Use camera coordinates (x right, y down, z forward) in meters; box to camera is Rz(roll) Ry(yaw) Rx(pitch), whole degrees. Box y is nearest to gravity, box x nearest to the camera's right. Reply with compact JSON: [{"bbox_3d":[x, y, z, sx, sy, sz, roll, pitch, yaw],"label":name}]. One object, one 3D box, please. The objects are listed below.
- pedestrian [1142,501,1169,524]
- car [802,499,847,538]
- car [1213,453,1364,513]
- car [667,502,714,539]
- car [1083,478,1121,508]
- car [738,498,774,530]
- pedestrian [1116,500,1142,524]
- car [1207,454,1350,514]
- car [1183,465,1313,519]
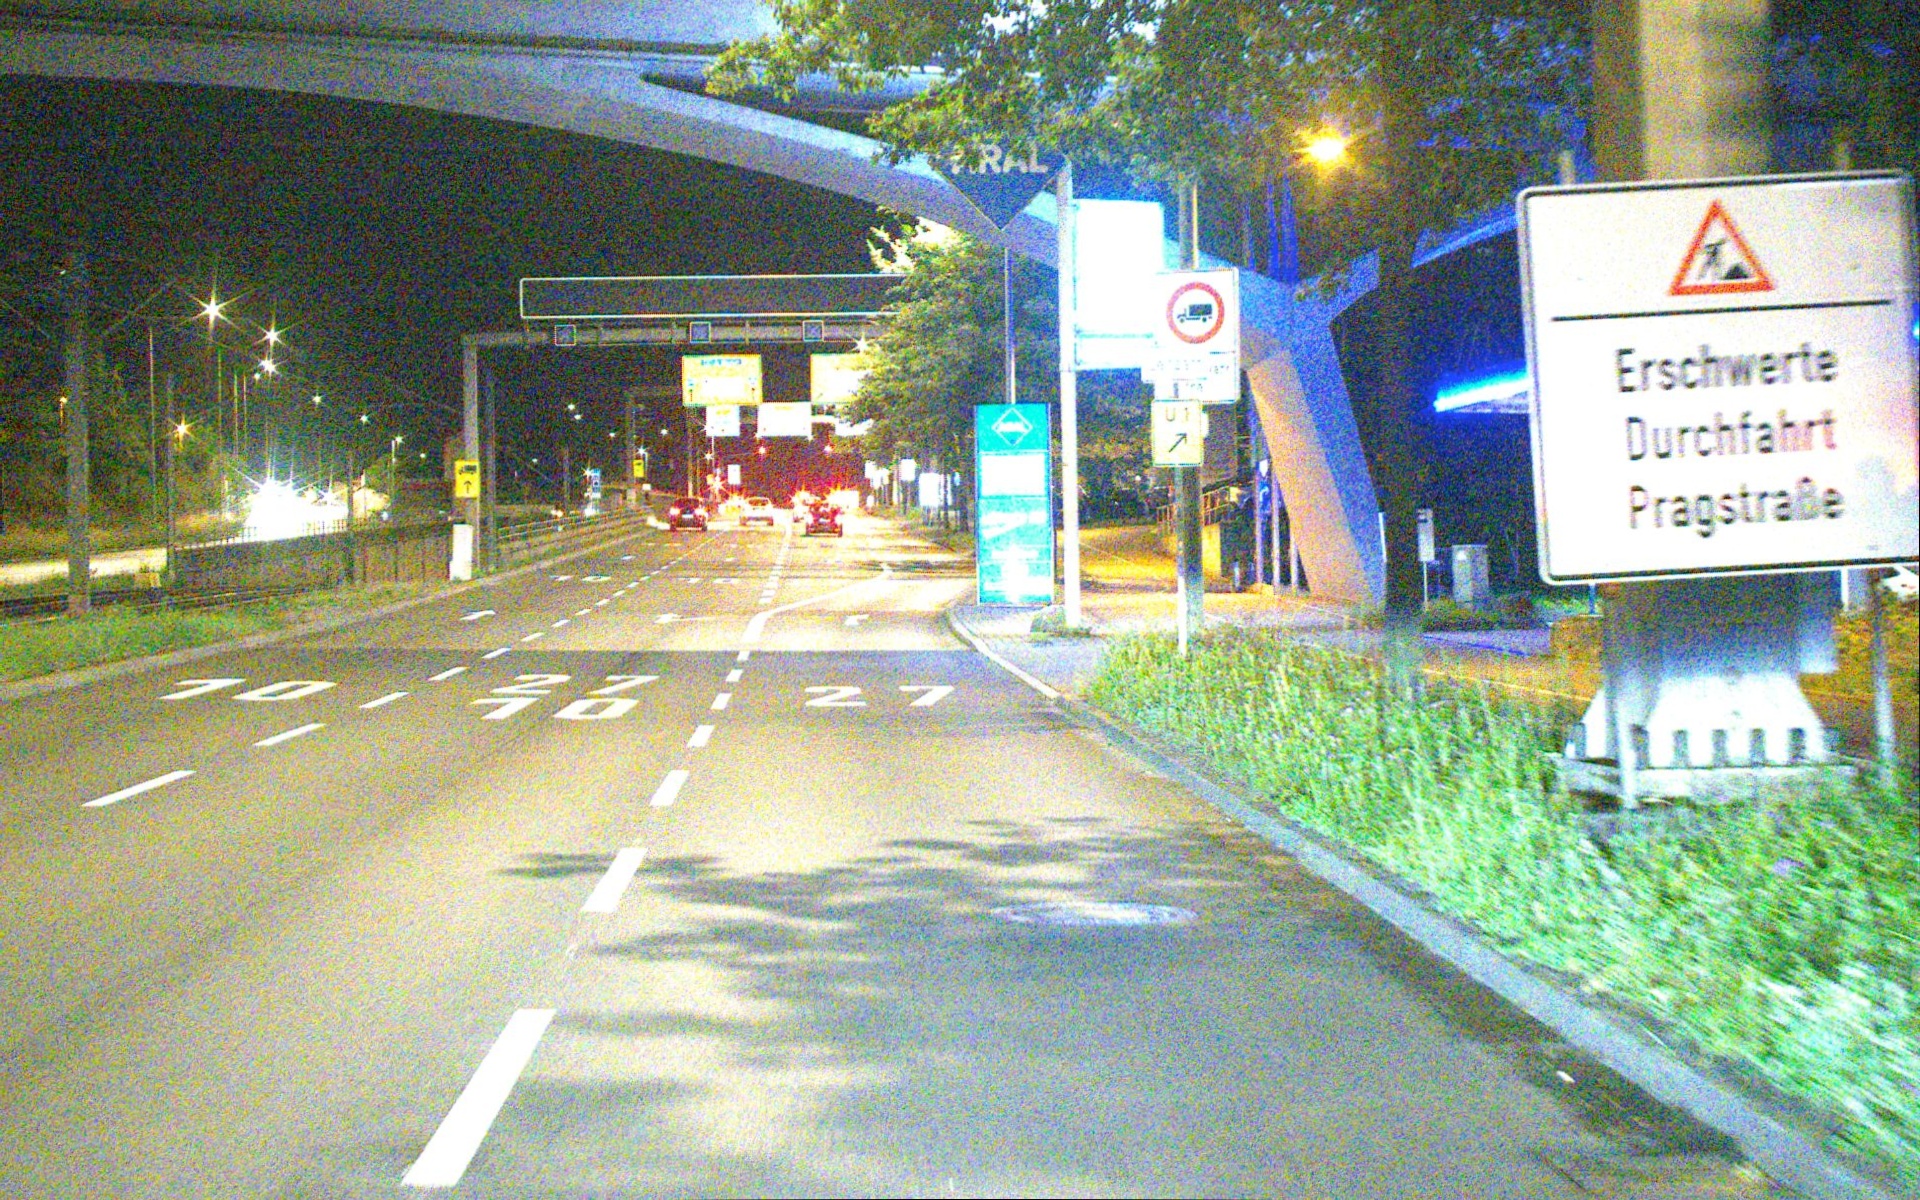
[{"bbox_3d":[8.795,-3.946,154.529,0.997,1.004,0.772,1,0,-18],"label":"pedestrian"},{"bbox_3d":[-6.347,-3.801,161.127,1.968,1.705,4.000,1,0,0],"label":"car"},{"bbox_3d":[9.438,-3.356,99.074,4.119,1.517,1.822,-2,0,-1],"label":"car"},{"bbox_3d":[-13.336,-3.929,170.226,1.968,1.705,4.000,1,0,0],"label":"car"},{"bbox_3d":[7.611,-5.727,184.059,1.893,1.506,3.636,1,0,4],"label":"car"},{"bbox_3d":[-11.564,-4.881,194.917,1.782,1.705,4.000,1,0,0],"label":"car"},{"bbox_3d":[7.596,-3.953,154.537,0.913,1.035,0.770,0,1,41],"label":"pedestrian"},{"bbox_3d":[9.380,-3.427,101.500,3.987,1.566,1.738,-2,0,-1],"label":"car"},{"bbox_3d":[8.919,-3.331,106.543,3.724,1.484,1.742,-2,0,-4],"label":"car"}]
